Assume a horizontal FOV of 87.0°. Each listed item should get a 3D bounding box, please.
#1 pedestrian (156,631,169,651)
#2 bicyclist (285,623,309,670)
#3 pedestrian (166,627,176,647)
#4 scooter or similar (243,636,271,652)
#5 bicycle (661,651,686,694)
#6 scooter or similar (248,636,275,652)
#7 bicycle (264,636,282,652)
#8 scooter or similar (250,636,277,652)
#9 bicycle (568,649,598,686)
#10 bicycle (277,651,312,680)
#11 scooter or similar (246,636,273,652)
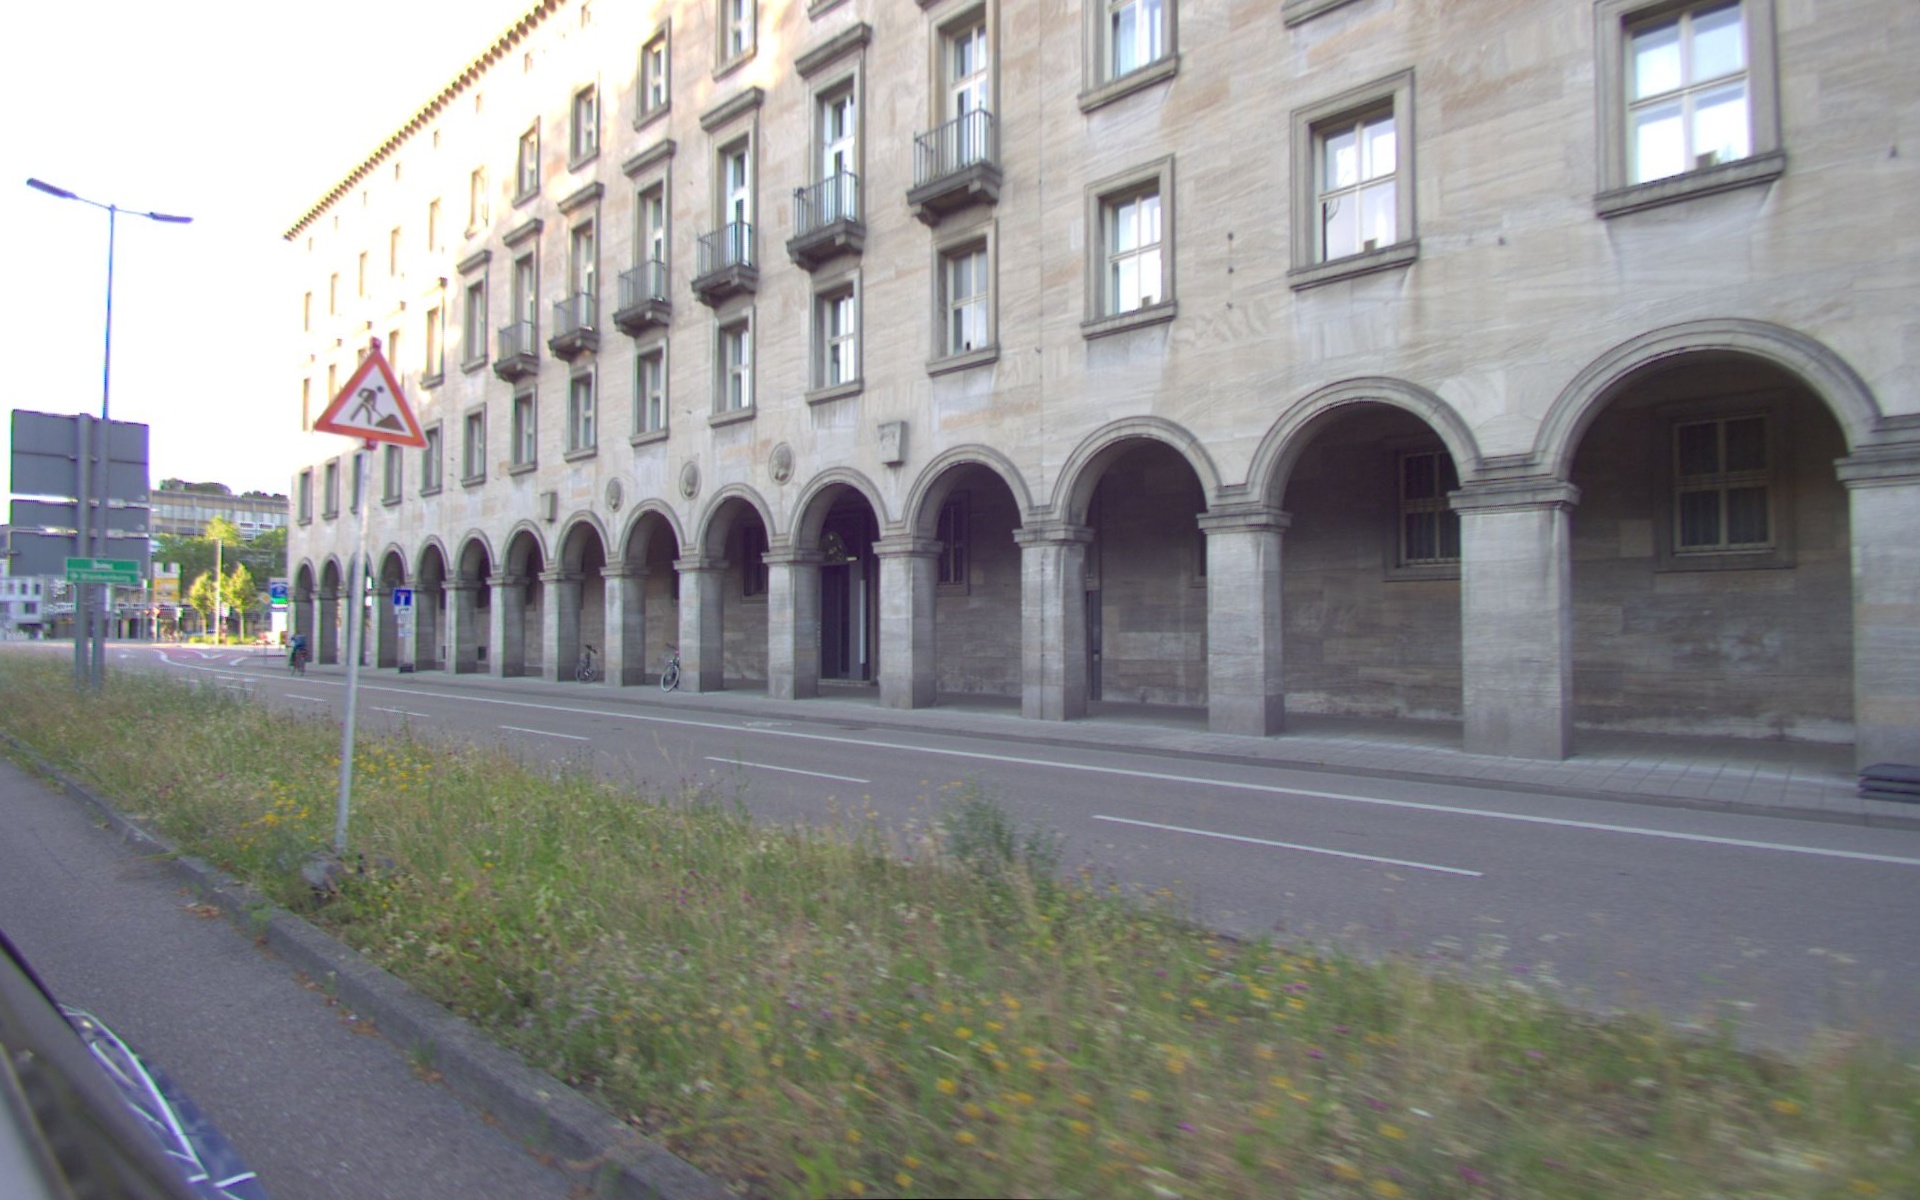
[{"bbox_3d":[-76.659,3.924,97.271,0.775,1.851,0.862,-2,-3,43],"label":"pedestrian"},{"bbox_3d":[-24.171,1.687,36.900,0.748,1.706,0.530,-2,-3,42],"label":"bicyclist"},{"bbox_3d":[-77.028,3.655,98.836,0.648,1.948,0.652,-3,-4,43],"label":"pedestrian"},{"bbox_3d":[-59.140,3.720,85.104,0.499,1.315,1.842,-1,-2,35],"label":"scooter or similar"},{"bbox_3d":[-7.218,1.808,25.524,0.471,1.013,2.010,0,-2,-12],"label":"bicycle"},{"bbox_3d":[-58.337,3.702,84.521,0.422,1.315,1.814,-1,-2,35],"label":"scooter or similar"},{"bbox_3d":[-56.384,3.610,83.049,2.507,1.334,0.611,-2,-3,40],"label":"bicycle"},{"bbox_3d":[-57.985,3.687,84.255,0.422,1.315,1.819,-1,-2,35],"label":"scooter or similar"},{"bbox_3d":[-10.829,1.923,29.042,0.470,1.013,2.011,1,-2,-29],"label":"bicycle"},{"bbox_3d":[-24.381,2.398,37.057,2.004,1.013,0.536,-2,-3,42],"label":"bicycle"},{"bbox_3d":[-58.718,3.718,84.820,0.416,1.315,1.771,-1,-2,35],"label":"scooter or similar"}]
